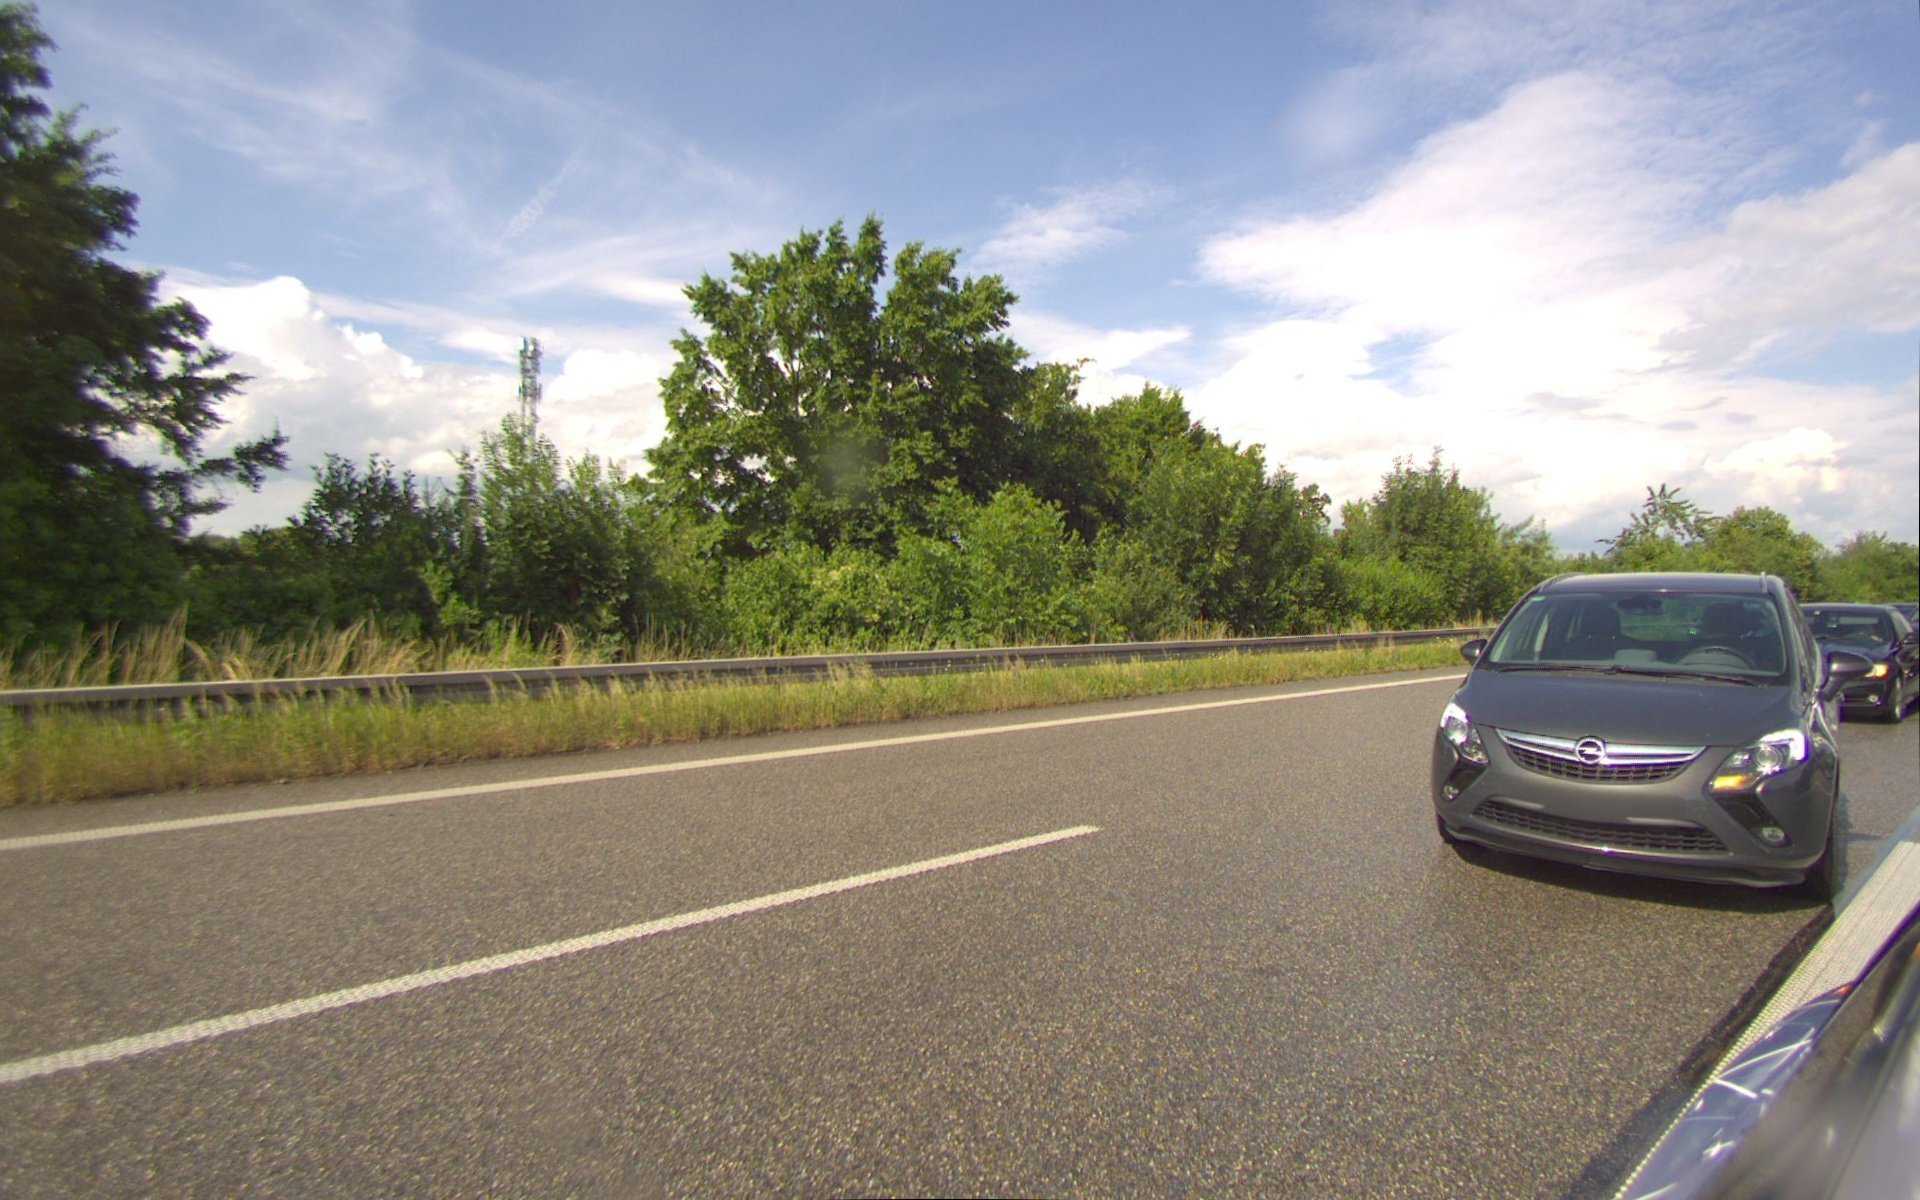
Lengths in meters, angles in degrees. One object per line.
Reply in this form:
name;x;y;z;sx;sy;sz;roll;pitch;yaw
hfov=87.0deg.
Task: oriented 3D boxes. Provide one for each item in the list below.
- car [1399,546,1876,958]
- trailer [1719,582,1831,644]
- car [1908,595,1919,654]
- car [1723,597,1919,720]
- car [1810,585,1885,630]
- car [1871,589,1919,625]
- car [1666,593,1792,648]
car;4.531;0.591;6.437;1.852;1.652;4.664;0;0;42
trailer;25.049;0.364;31.077;3.894;1.768;1.810;0;0;-37
car;24.502;0.582;24.791;3.935;1.382;1.740;0;1;-45
car;11.654;0.667;13.401;3.816;1.371;1.721;0;0;-41
car;31.312;0.244;35.676;3.422;1.507;1.614;0;1;-42
car;38.847;0.256;41.412;4.500;1.368;1.770;0;1;-41
car;21.774;0.522;28.603;4.323;1.449;1.748;0;1;-37
